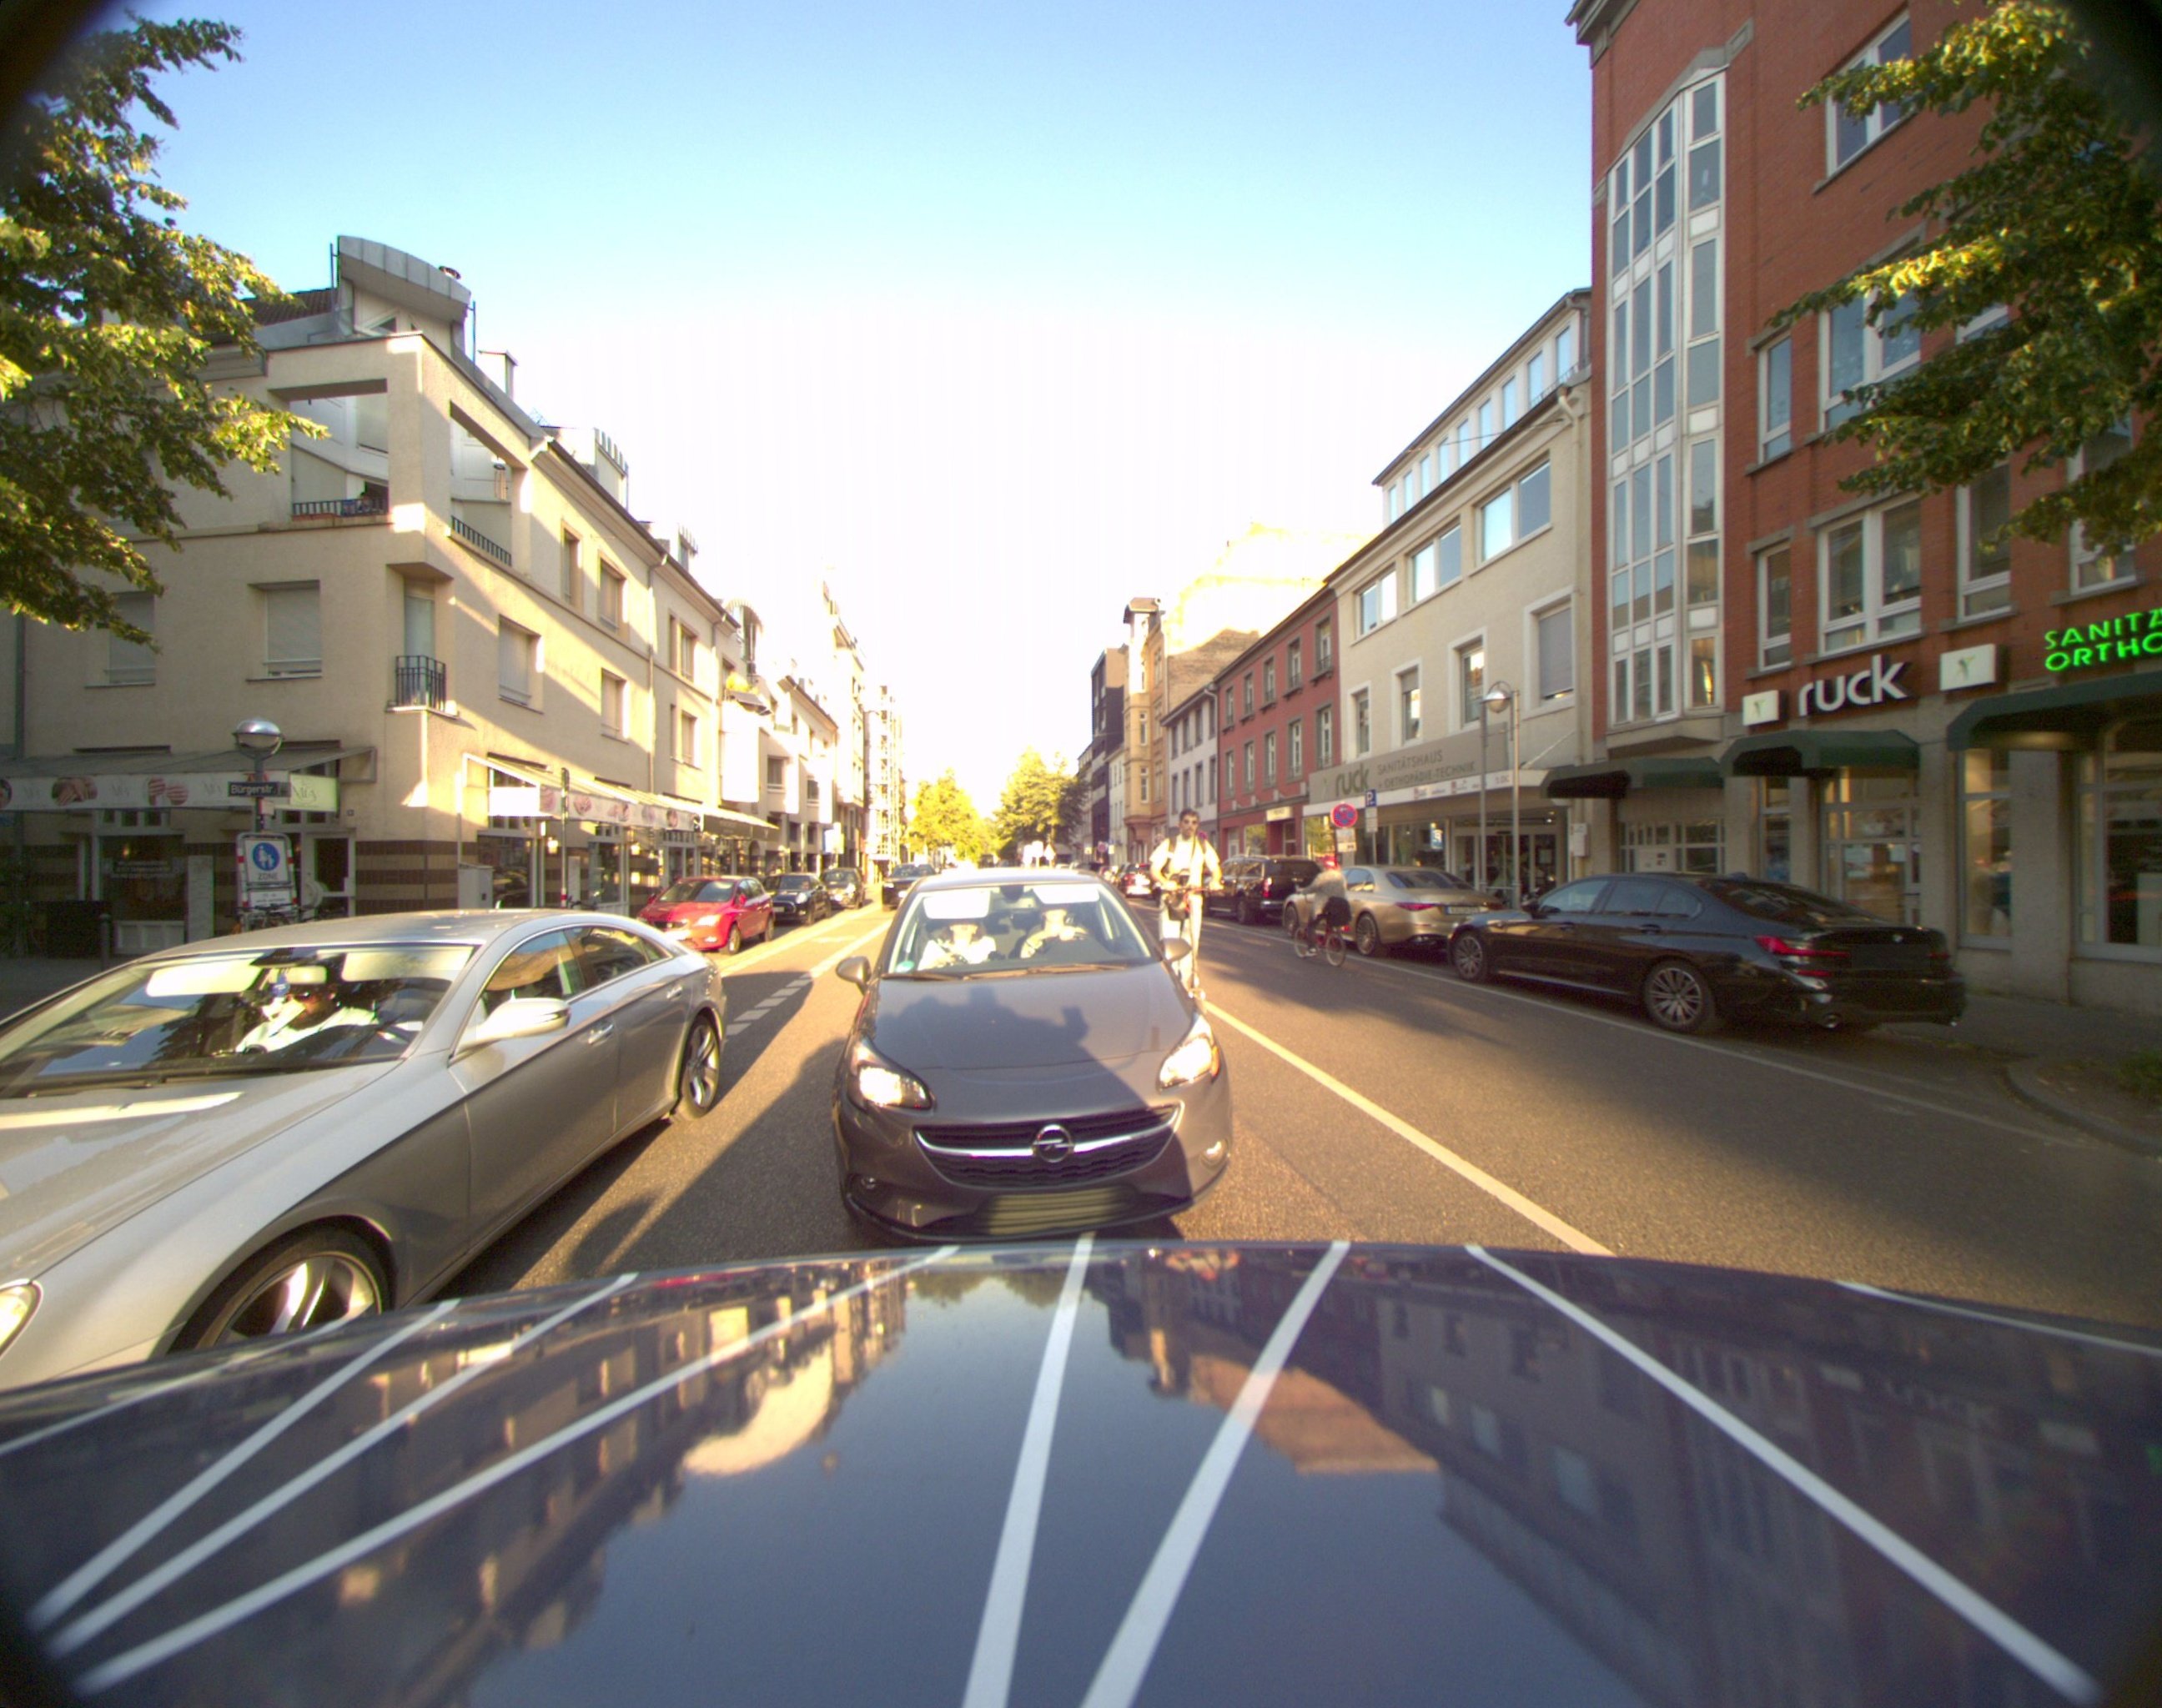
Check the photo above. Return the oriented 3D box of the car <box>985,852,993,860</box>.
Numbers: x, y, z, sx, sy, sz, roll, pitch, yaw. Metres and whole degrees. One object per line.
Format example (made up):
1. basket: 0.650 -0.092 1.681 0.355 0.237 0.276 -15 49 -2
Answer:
1. car: -19.387 0.358 160.345 1.673 1.630 3.253 -2 1 -7

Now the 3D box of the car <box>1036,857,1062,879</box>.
1. car: -2.616 1.100 61.361 1.766 1.762 3.870 0 0 -7

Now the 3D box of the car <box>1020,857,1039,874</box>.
1. car: -5.483 1.204 80.570 1.788 1.762 3.870 0 0 -7

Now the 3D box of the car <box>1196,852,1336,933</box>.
1. car: 4.729 0.938 20.327 1.974 1.873 4.944 -1 -1 -8

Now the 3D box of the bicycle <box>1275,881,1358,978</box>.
1. bicycle: 3.438 1.060 11.229 0.421 1.230 1.693 -2 1 -10

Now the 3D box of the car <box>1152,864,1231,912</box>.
1. car: 3.733 1.109 26.360 1.737 1.515 3.840 0 0 -7

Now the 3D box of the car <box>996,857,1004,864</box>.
1. car: -21.180 1.615 199.416 1.846 1.796 3.582 -2 1 -2

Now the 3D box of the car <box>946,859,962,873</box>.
1. car: -14.996 1.364 89.994 1.766 1.622 3.870 0 0 -7

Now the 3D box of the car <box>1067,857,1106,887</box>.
1. car: 0.291 1.111 48.010 1.882 1.667 4.034 -2 1 -8

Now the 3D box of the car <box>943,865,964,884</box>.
1. car: -12.047 1.917 71.935 1.693 1.644 3.731 -2 1 -8

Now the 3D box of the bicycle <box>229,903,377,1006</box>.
1. bicycle: -10.481 1.301 10.334 0.332 1.123 2.010 0 0 -11

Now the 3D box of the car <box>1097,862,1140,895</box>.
1. car: 1.940 1.246 40.028 1.686 1.580 3.514 -1 1 -7

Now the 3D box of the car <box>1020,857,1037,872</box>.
1. car: -6.266 1.193 90.189 1.766 1.762 3.870 0 0 -7

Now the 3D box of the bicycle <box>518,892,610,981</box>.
1. bicycle: -8.228 1.271 12.171 0.505 1.230 1.711 0 0 -8

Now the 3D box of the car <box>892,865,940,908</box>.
1. car: -6.799 1.310 31.586 1.692 1.534 3.728 -2 1 -9

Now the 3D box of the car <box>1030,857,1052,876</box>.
1. car: -3.816 1.157 72.147 1.766 1.762 3.870 0 0 -7

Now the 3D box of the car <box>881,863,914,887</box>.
1. car: -12.497 1.399 51.823 1.766 1.563 3.870 0 0 -7

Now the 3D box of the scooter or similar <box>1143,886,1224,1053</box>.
1. scooter or similar: 0.930 1.007 7.231 0.545 1.342 1.669 -1 0 1

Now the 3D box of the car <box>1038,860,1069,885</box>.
1. car: -2.023 1.293 54.859 1.796 1.606 3.970 -2 1 -7

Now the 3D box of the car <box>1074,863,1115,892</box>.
1. car: 0.715 1.300 43.793 1.792 1.504 3.775 -1 1 -8

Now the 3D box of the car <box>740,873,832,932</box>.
1. car: -8.185 1.283 21.400 1.615 1.386 3.692 -2 0 -9

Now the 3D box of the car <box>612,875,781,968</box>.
1. car: -7.238 1.189 14.763 1.654 1.420 3.998 -2 0 -8

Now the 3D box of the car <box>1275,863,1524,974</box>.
1. car: 5.260 0.957 13.457 1.896 1.590 4.942 0 0 -6

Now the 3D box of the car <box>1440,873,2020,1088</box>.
1. car: 5.866 0.967 7.783 1.805 1.385 4.414 -1 1 -9

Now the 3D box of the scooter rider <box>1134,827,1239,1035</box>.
1. scooter rider: 0.946 0.672 7.025 0.813 1.797 0.788 -2 1 1

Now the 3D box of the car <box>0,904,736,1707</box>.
1. car: -3.059 1.069 2.933 1.791 1.361 4.570 -2 0 -7

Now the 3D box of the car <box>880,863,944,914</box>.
1. car: -5.949 1.154 27.087 1.897 1.632 3.747 -1 0 -8

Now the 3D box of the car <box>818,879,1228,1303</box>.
1. car: -0.534 0.954 4.876 1.588 1.445 3.839 -1 0 -10

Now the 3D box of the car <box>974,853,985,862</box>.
1. car: -19.356 0.664 145.119 1.616 1.463 3.225 -2 1 -2

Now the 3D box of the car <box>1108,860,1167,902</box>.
1. car: 2.517 1.190 34.901 1.877 1.718 4.137 -1 0 -8

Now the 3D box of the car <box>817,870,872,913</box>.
1. car: -8.938 1.372 28.915 1.432 1.442 3.378 -1 0 -8

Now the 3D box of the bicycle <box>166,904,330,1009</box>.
1. bicycle: -11.084 1.306 10.214 0.332 1.123 2.010 -1 1 -11

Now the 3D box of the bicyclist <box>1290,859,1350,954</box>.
1. bicyclist: 3.454 0.737 11.018 0.569 1.295 0.660 -2 1 -9
